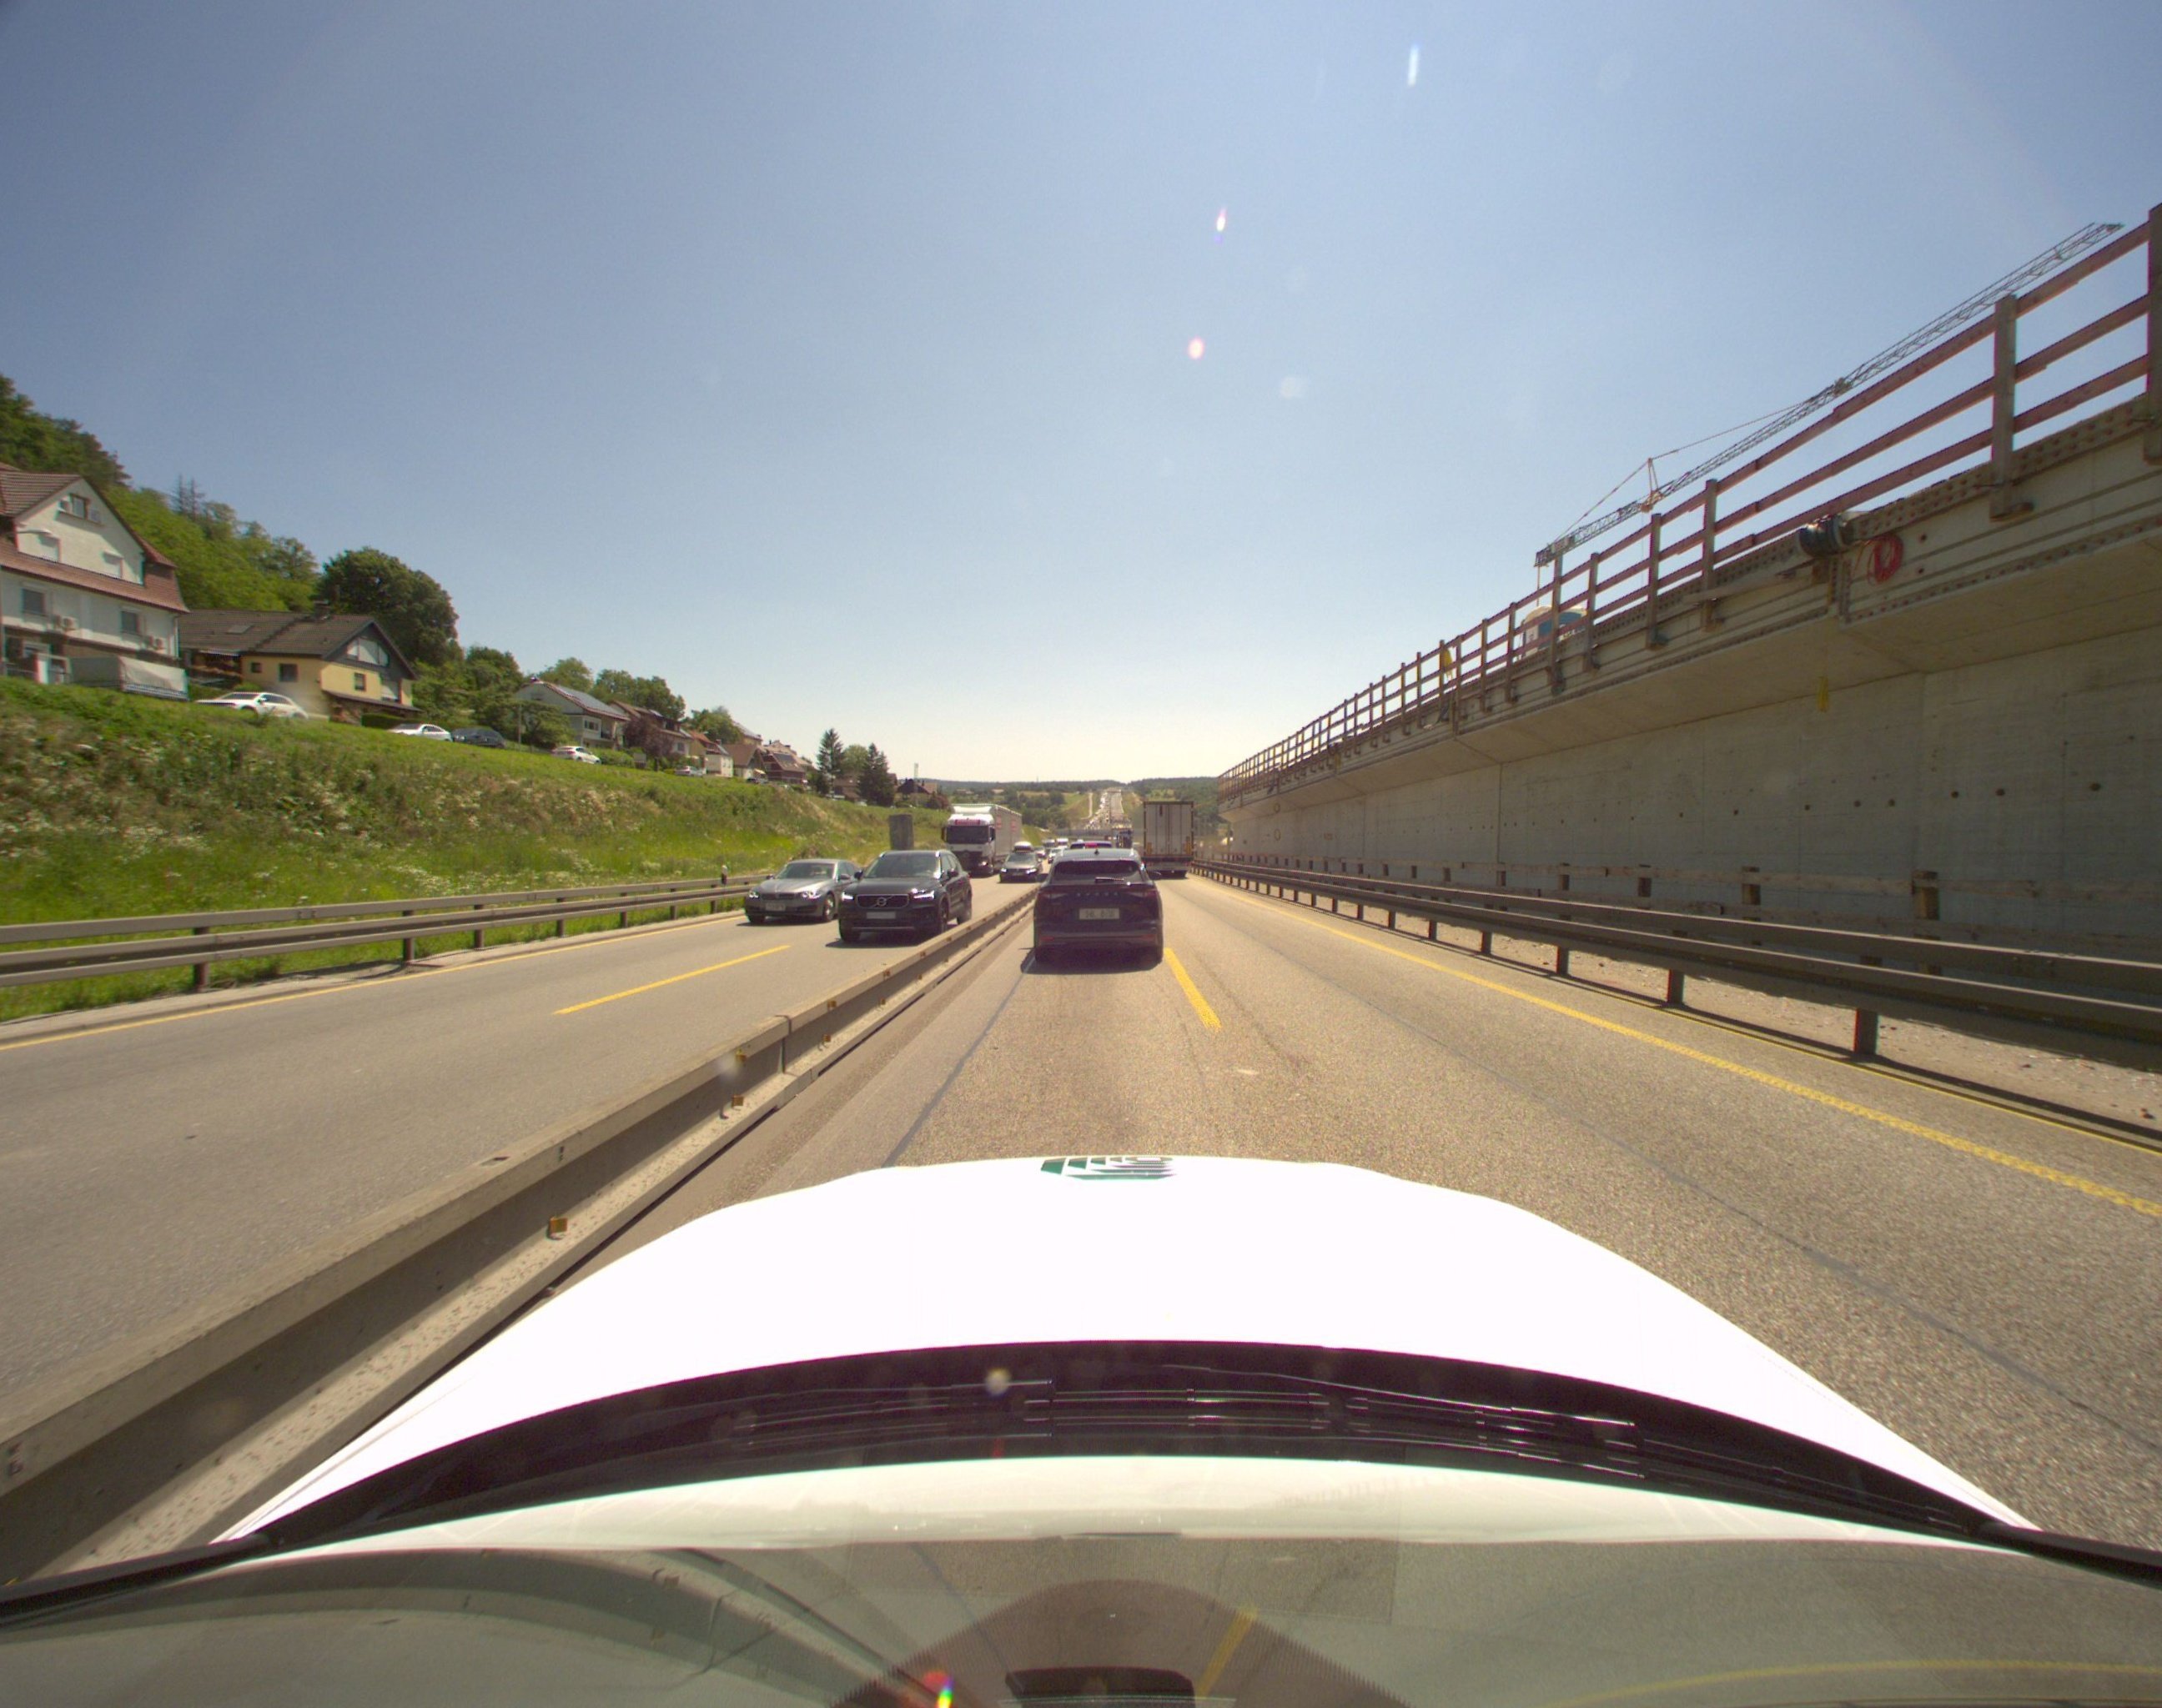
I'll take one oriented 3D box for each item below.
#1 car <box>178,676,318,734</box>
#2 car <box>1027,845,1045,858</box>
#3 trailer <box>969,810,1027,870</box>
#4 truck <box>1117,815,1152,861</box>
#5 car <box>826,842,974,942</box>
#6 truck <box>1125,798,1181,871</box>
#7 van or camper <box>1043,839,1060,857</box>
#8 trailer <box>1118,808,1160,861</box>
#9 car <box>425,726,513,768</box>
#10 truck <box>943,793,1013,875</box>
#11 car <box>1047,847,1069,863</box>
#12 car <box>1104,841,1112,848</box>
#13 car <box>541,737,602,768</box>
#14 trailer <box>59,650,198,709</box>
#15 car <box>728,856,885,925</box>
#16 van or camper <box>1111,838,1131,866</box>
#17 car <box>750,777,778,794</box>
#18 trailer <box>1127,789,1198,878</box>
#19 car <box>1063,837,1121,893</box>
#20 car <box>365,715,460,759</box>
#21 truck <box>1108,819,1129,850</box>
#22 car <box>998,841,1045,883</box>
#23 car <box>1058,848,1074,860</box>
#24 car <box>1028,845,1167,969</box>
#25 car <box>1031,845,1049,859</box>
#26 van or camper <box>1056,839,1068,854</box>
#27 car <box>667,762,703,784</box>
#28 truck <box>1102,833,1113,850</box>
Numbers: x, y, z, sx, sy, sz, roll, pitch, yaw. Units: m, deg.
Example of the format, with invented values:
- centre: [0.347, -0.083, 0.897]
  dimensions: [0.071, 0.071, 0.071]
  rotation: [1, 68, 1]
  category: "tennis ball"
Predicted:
- centre: [-36.842, -6.541, 36.222]
  dimensions: [1.992, 1.656, 4.540]
  rotation: [0, -1, -8]
  category: "car"
- centre: [-5.361, -0.238, 97.394]
  dimensions: [1.988, 1.474, 3.998]
  rotation: [0, -1, -1]
  category: "car"
- centre: [-5.808, -0.936, 58.465]
  dimensions: [2.918, 3.988, 8.710]
  rotation: [0, 0, 2]
  category: "trailer"
- centre: [5.430, -1.531, 83.632]
  dimensions: [3.169, 4.513, 8.167]
  rotation: [0, -1, 1]
  category: "truck"
- centre: [-3.352, 0.646, 15.887]
  dimensions: [1.863, 1.684, 4.002]
  rotation: [-1, 0, 2]
  category: "car"
- centre: [4.693, -1.305, 54.787]
  dimensions: [3.169, 4.512, 8.168]
  rotation: [0, 1, 1]
  category: "truck"
- centre: [-4.403, -0.928, 122.985]
  dimensions: [2.132, 2.573, 6.566]
  rotation: [0, 1, 1]
  category: "van or camper"
- centre: [5.281, -1.576, 76.580]
  dimensions: [3.169, 4.513, 14.969]
  rotation: [0, 0, 1]
  category: "trailer"
- centre: [-38.792, -6.725, 51.782]
  dimensions: [2.067, 2.008, 4.966]
  rotation: [0, -1, -4]
  category: "car"
- centre: [-5.980, -1.074, 48.928]
  dimensions: [2.611, 4.396, 10.388]
  rotation: [0, 0, 1]
  category: "truck"
- centre: [-2.137, 0.097, 76.217]
  dimensions: [1.796, 1.464, 4.001]
  rotation: [-1, 0, 1]
  category: "car"
- centre: [6.162, -2.158, 185.461]
  dimensions: [1.806, 1.601, 4.575]
  rotation: [-1, 1, 2]
  category: "car"
- centre: [-39.645, -7.879, 63.548]
  dimensions: [1.991, 1.794, 5.002]
  rotation: [0, -1, -5]
  category: "car"
- centre: [-36.157, -6.585, 31.032]
  dimensions: [1.902, 1.516, 3.027]
  rotation: [0, -1, -10]
  category: "trailer"
- centre: [-6.684, 0.833, 20.580]
  dimensions: [1.986, 1.508, 5.303]
  rotation: [0, 0, 2]
  category: "car"
- centre: [4.935, -0.196, 99.728]
  dimensions: [2.378, 3.280, 6.474]
  rotation: [-1, -1, 3]
  category: "van or camper"
- centre: [-41.553, -8.922, 106.921]
  dimensions: [2.175, 1.794, 4.754]
  rotation: [0, -1, -5]
  category: "car"
- centre: [4.548, -1.158, 48.316]
  dimensions: [3.169, 4.512, 13.112]
  rotation: [0, 1, 1]
  category: "trailer"
- centre: [0.428, 0.388, 30.565]
  dimensions: [1.986, 1.926, 4.508]
  rotation: [0, -1, 1]
  category: "car"
- centre: [-38.175, -6.638, 46.687]
  dimensions: [1.990, 1.872, 4.423]
  rotation: [0, -1, -4]
  category: "car"
- centre: [5.685, -2.895, 125.119]
  dimensions: [2.842, 4.465, 11.918]
  rotation: [0, -1, 1]
  category: "truck"
- centre: [-2.826, 0.354, 39.807]
  dimensions: [1.842, 1.890, 4.502]
  rotation: [0, 0, 1]
  category: "car"
- centre: [-1.800, -0.051, 100.381]
  dimensions: [1.823, 1.433, 4.630]
  rotation: [-1, 0, 1]
  category: "car"
- centre: [0.278, 0.686, 12.591]
  dimensions: [1.795, 1.607, 4.002]
  rotation: [-1, 0, 2]
  category: "car"
- centre: [-4.859, -0.246, 97.458]
  dimensions: [1.767, 1.582, 4.287]
  rotation: [0, 0, 1]
  category: "car"
- centre: [-3.874, -1.552, 166.912]
  dimensions: [2.283, 3.066, 6.926]
  rotation: [0, 1, 1]
  category: "van or camper"
- centre: [-40.173, -8.192, 82.758]
  dimensions: [1.991, 1.794, 3.992]
  rotation: [0, -1, -5]
  category: "car"
- centre: [7.011, -3.281, 215.119]
  dimensions: [2.630, 4.193, 9.286]
  rotation: [0, -1, 1]
  category: "truck"
